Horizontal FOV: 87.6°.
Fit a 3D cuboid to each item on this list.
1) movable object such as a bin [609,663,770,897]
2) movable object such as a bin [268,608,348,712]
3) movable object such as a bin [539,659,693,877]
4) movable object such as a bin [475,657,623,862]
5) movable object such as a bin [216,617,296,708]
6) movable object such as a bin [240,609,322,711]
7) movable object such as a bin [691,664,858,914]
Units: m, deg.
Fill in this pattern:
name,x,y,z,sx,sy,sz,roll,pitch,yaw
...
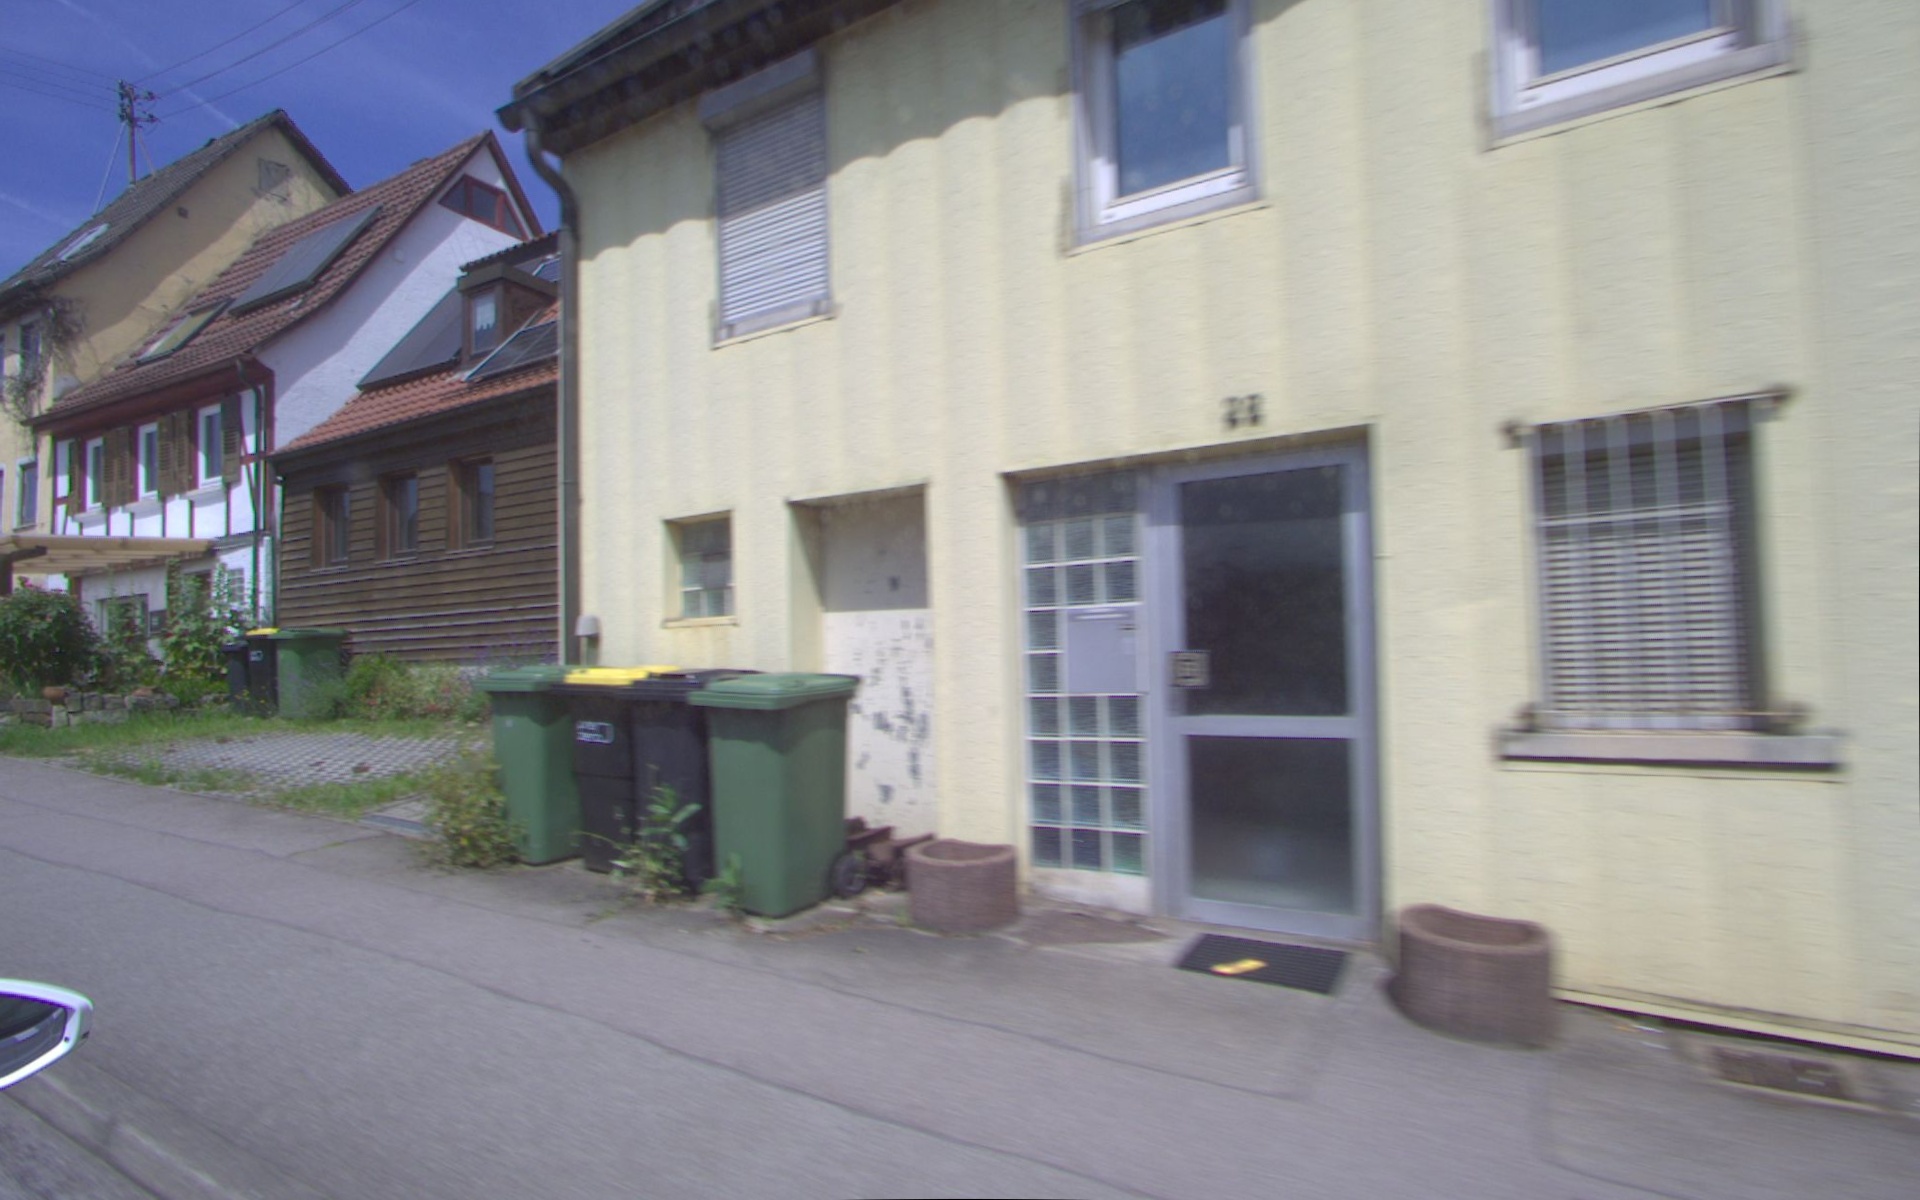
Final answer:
name,x,y,z,sx,sy,sz,roll,pitch,yaw
movable object such as a bin,-1.359,0.868,5.070,0.543,1.047,0.545,0,2,32
movable object such as a bin,-7.817,0.711,12.014,0.503,1.174,0.533,-1,5,27
movable object such as a bin,-1.846,0.866,5.391,0.543,1.047,0.545,0,2,32
movable object such as a bin,-2.330,0.870,5.696,0.543,1.047,0.545,0,2,32
movable object such as a bin,-8.813,0.773,12.548,0.540,1.072,0.534,-1,5,26
movable object such as a bin,-8.314,0.726,12.276,0.540,1.174,0.534,-1,5,26
movable object such as a bin,-0.876,0.856,4.774,0.543,1.047,0.545,0,2,32
